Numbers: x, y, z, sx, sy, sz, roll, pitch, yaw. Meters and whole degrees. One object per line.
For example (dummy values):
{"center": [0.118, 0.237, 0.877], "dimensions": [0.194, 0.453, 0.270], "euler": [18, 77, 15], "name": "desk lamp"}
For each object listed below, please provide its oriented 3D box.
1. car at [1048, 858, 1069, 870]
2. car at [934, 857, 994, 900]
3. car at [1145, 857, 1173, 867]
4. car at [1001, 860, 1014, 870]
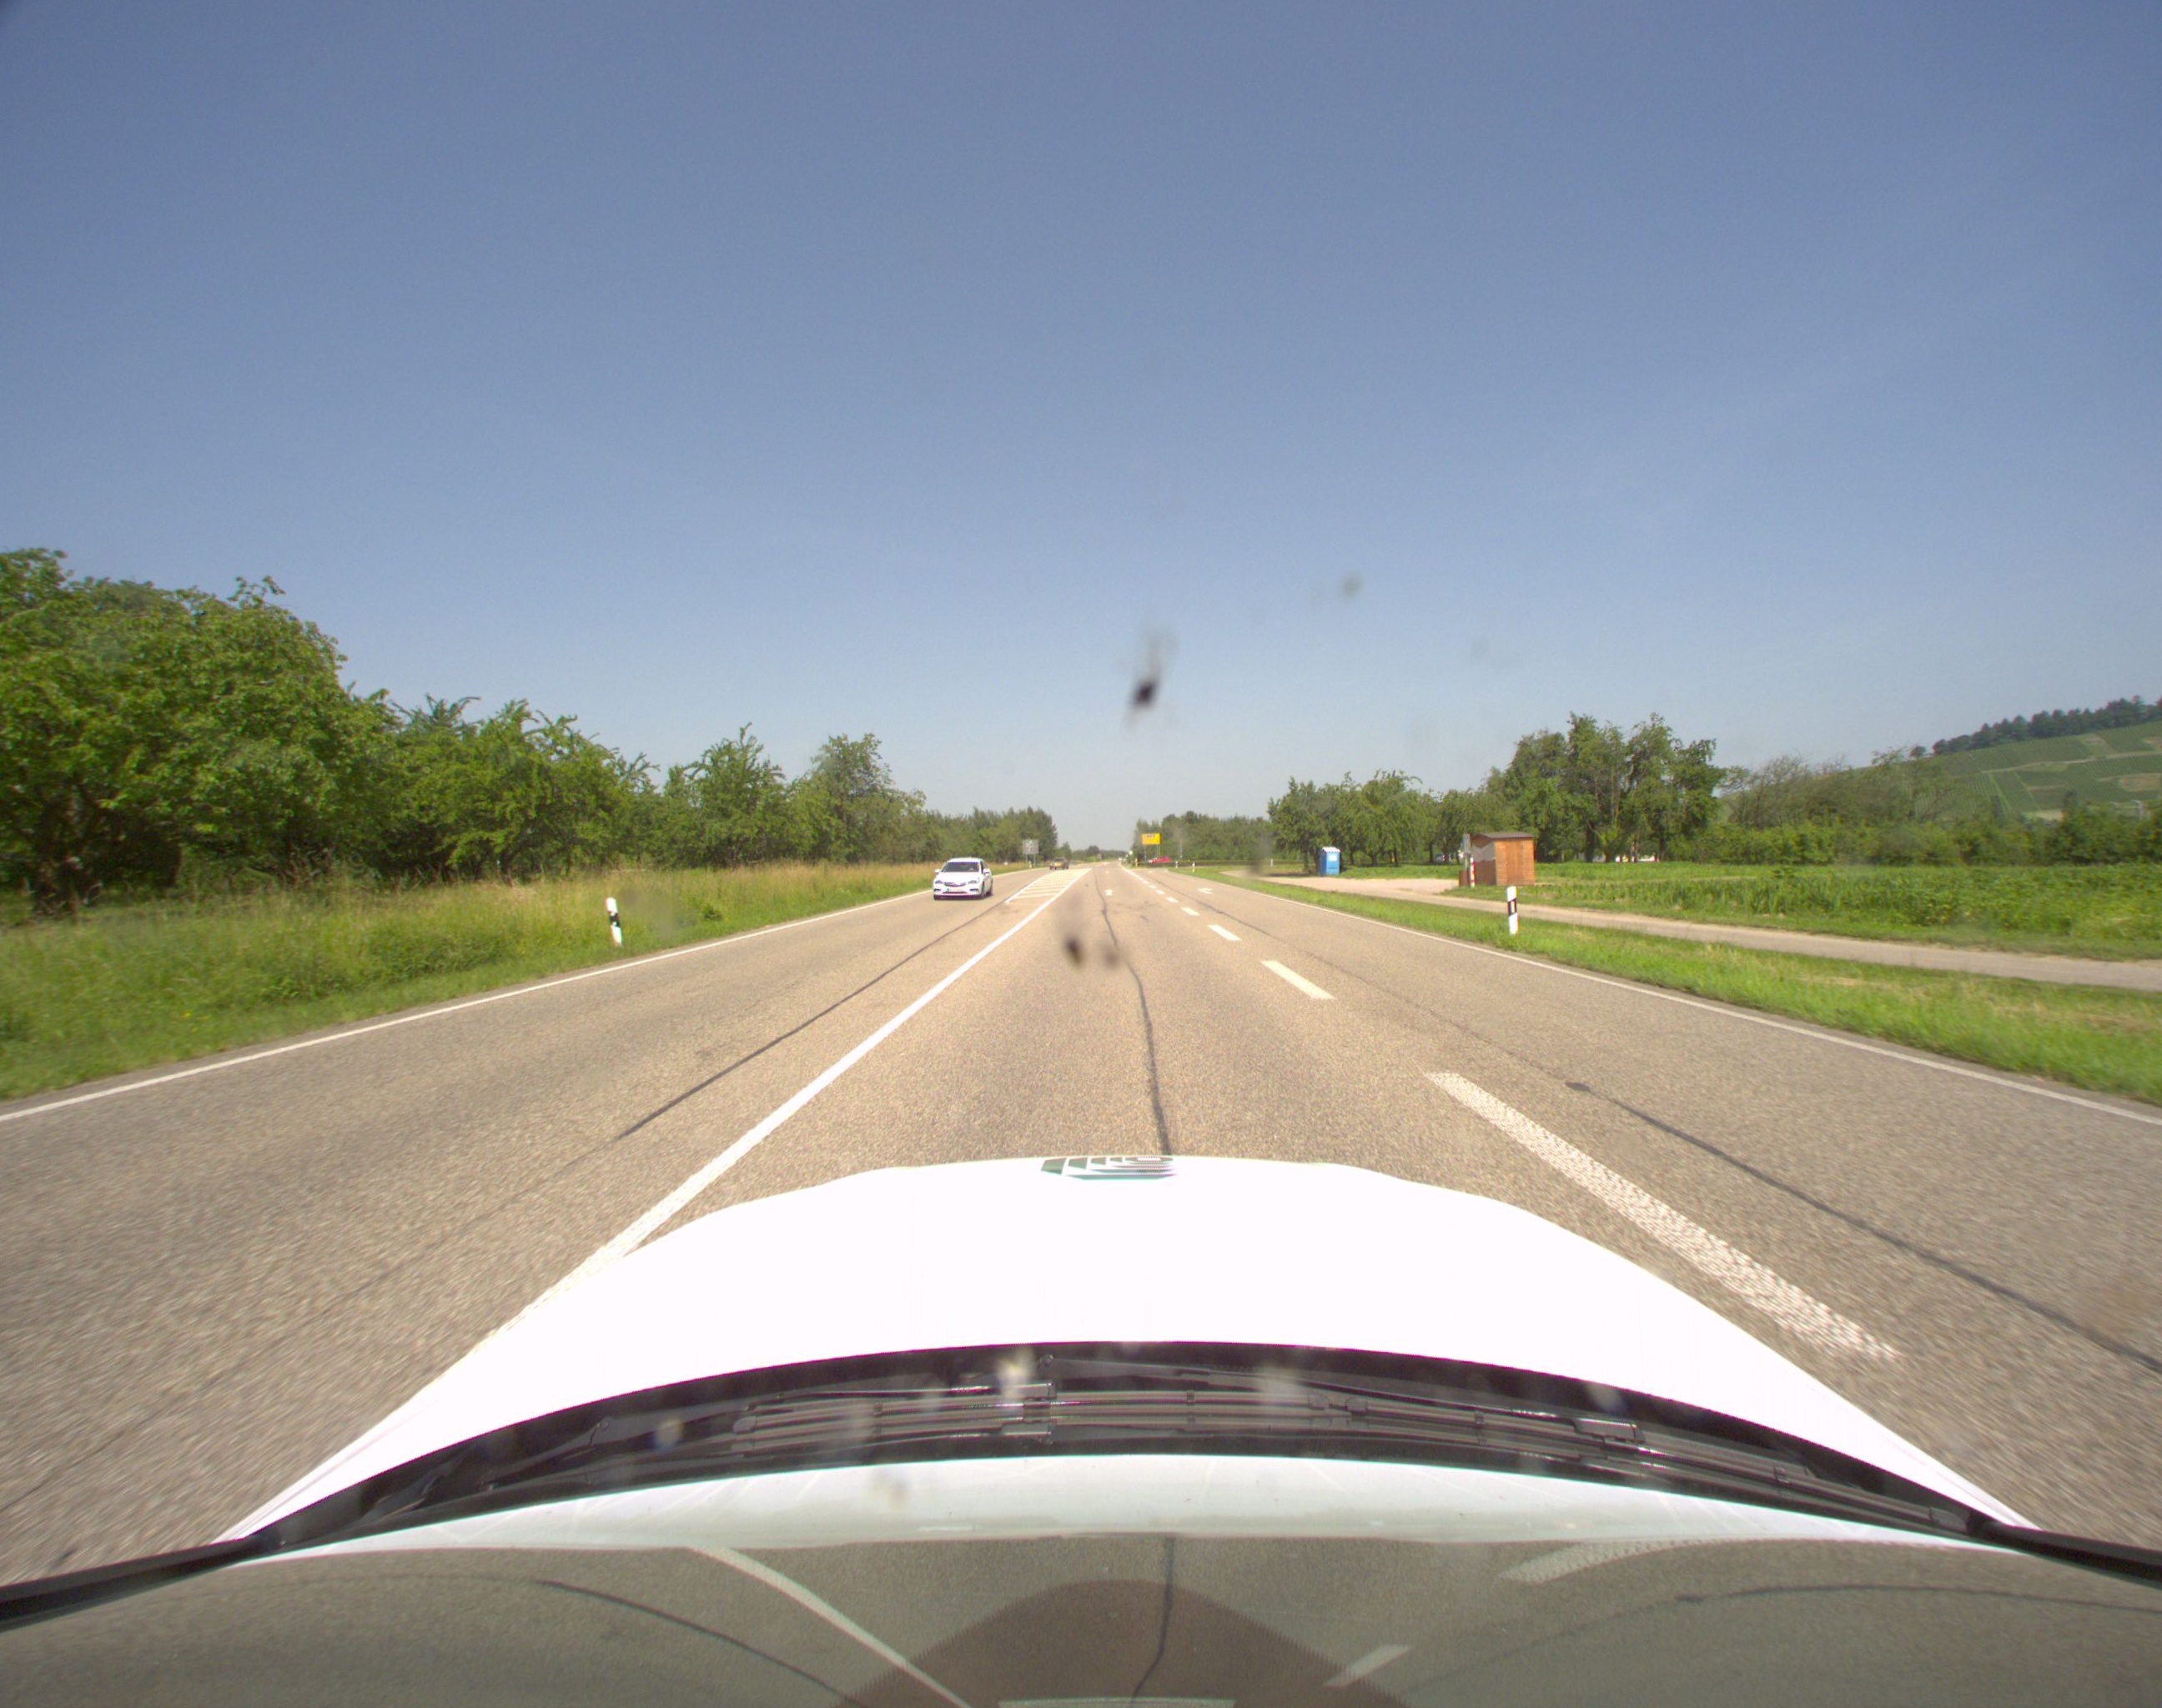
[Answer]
{"center": [-2.807, 1.189, 100.777], "dimensions": [1.686, 1.416, 3.838], "euler": [-1, 0, 12], "name": "car"}
{"center": [-4.306, 0.865, 30.572], "dimensions": [1.670, 1.494, 4.136], "euler": [0, 0, 0], "name": "car"}
{"center": [11.461, 1.136, 119.870], "dimensions": [3.741, 1.493, 1.665], "euler": [0, -1, -11], "name": "car"}
{"center": [-11.665, 1.739, 129.180], "dimensions": [1.700, 1.423, 4.039], "euler": [-1, -1, -2], "name": "car"}
